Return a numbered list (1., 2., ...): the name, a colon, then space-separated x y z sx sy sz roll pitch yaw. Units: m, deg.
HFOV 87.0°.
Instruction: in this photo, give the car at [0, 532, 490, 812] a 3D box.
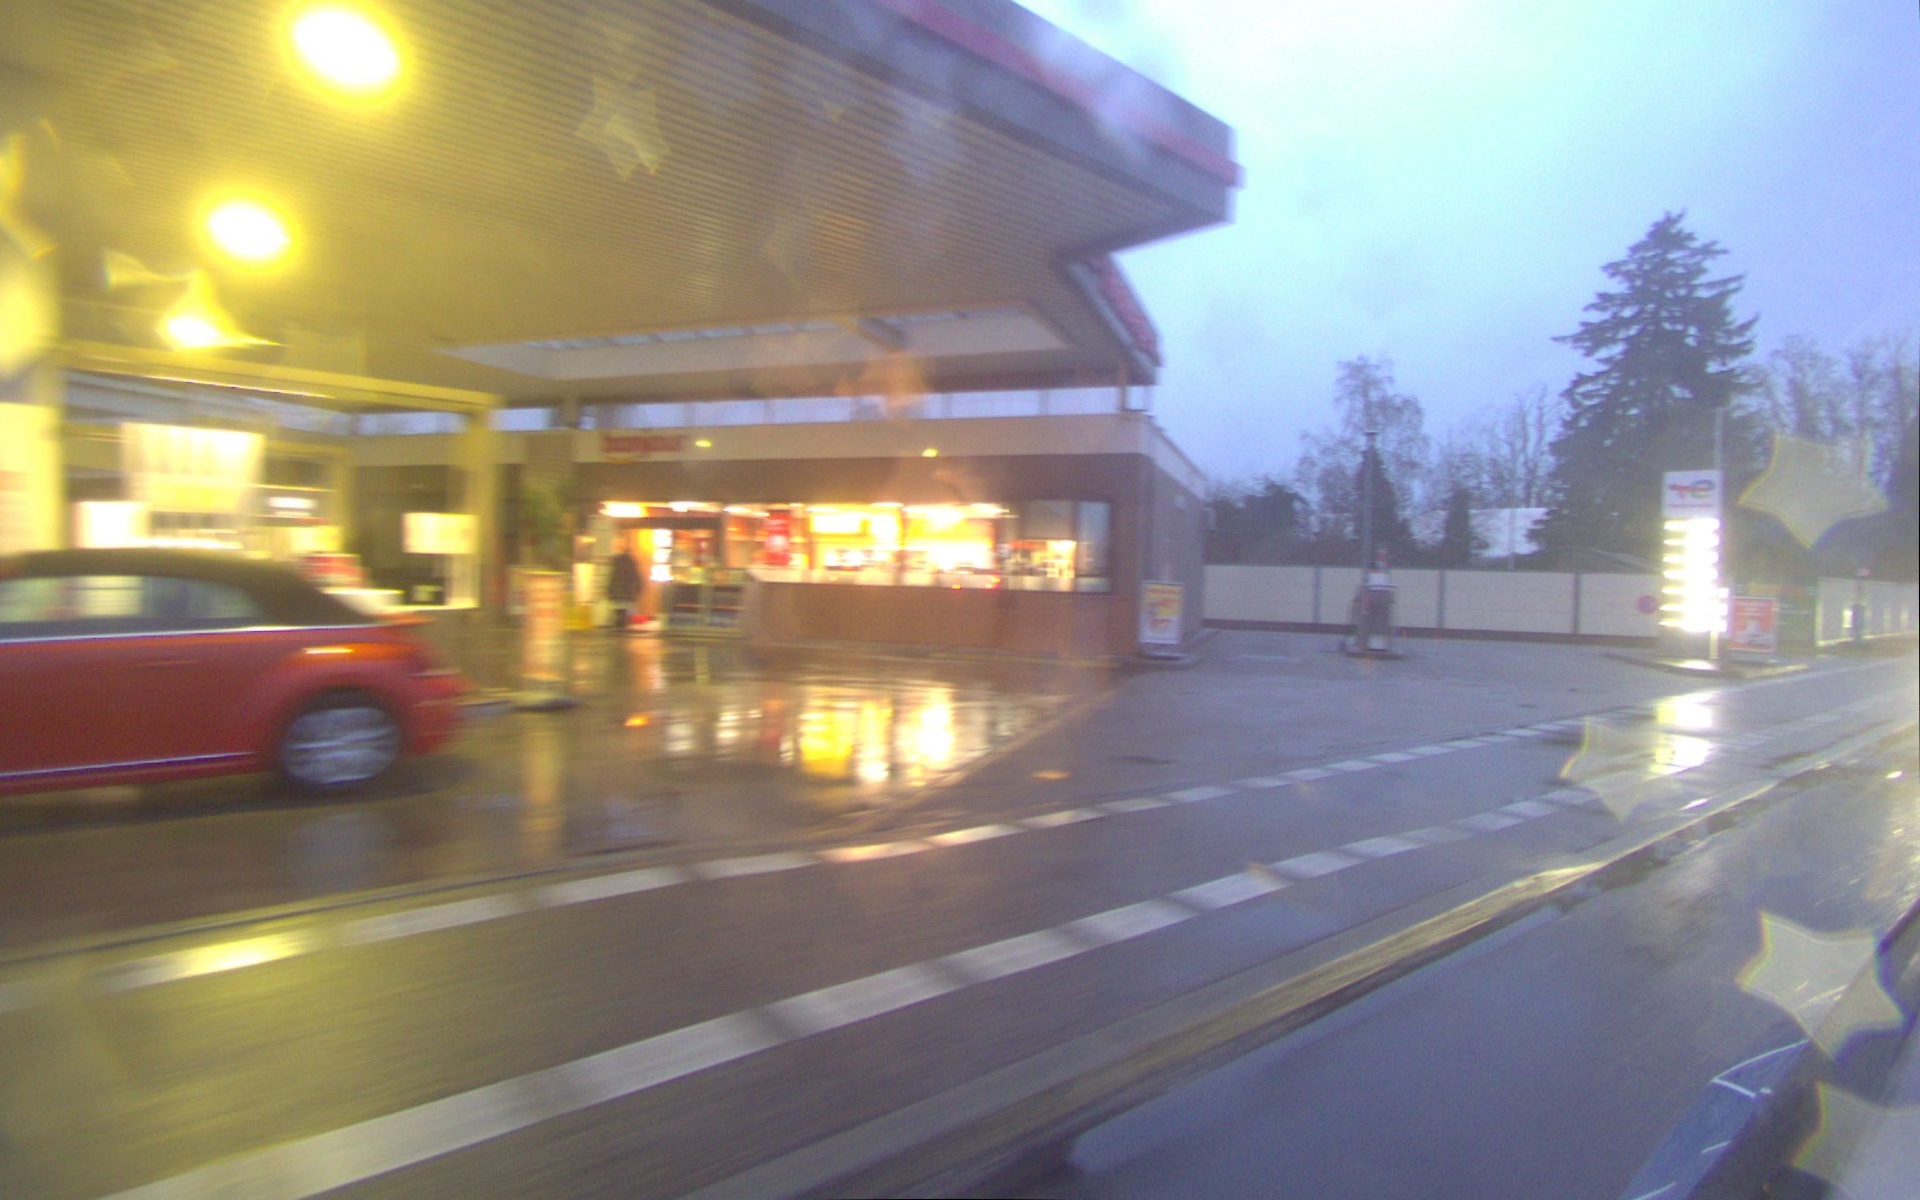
1. car: -5.138 0.328 5.885 4.095 1.413 1.576 0 3 -40
